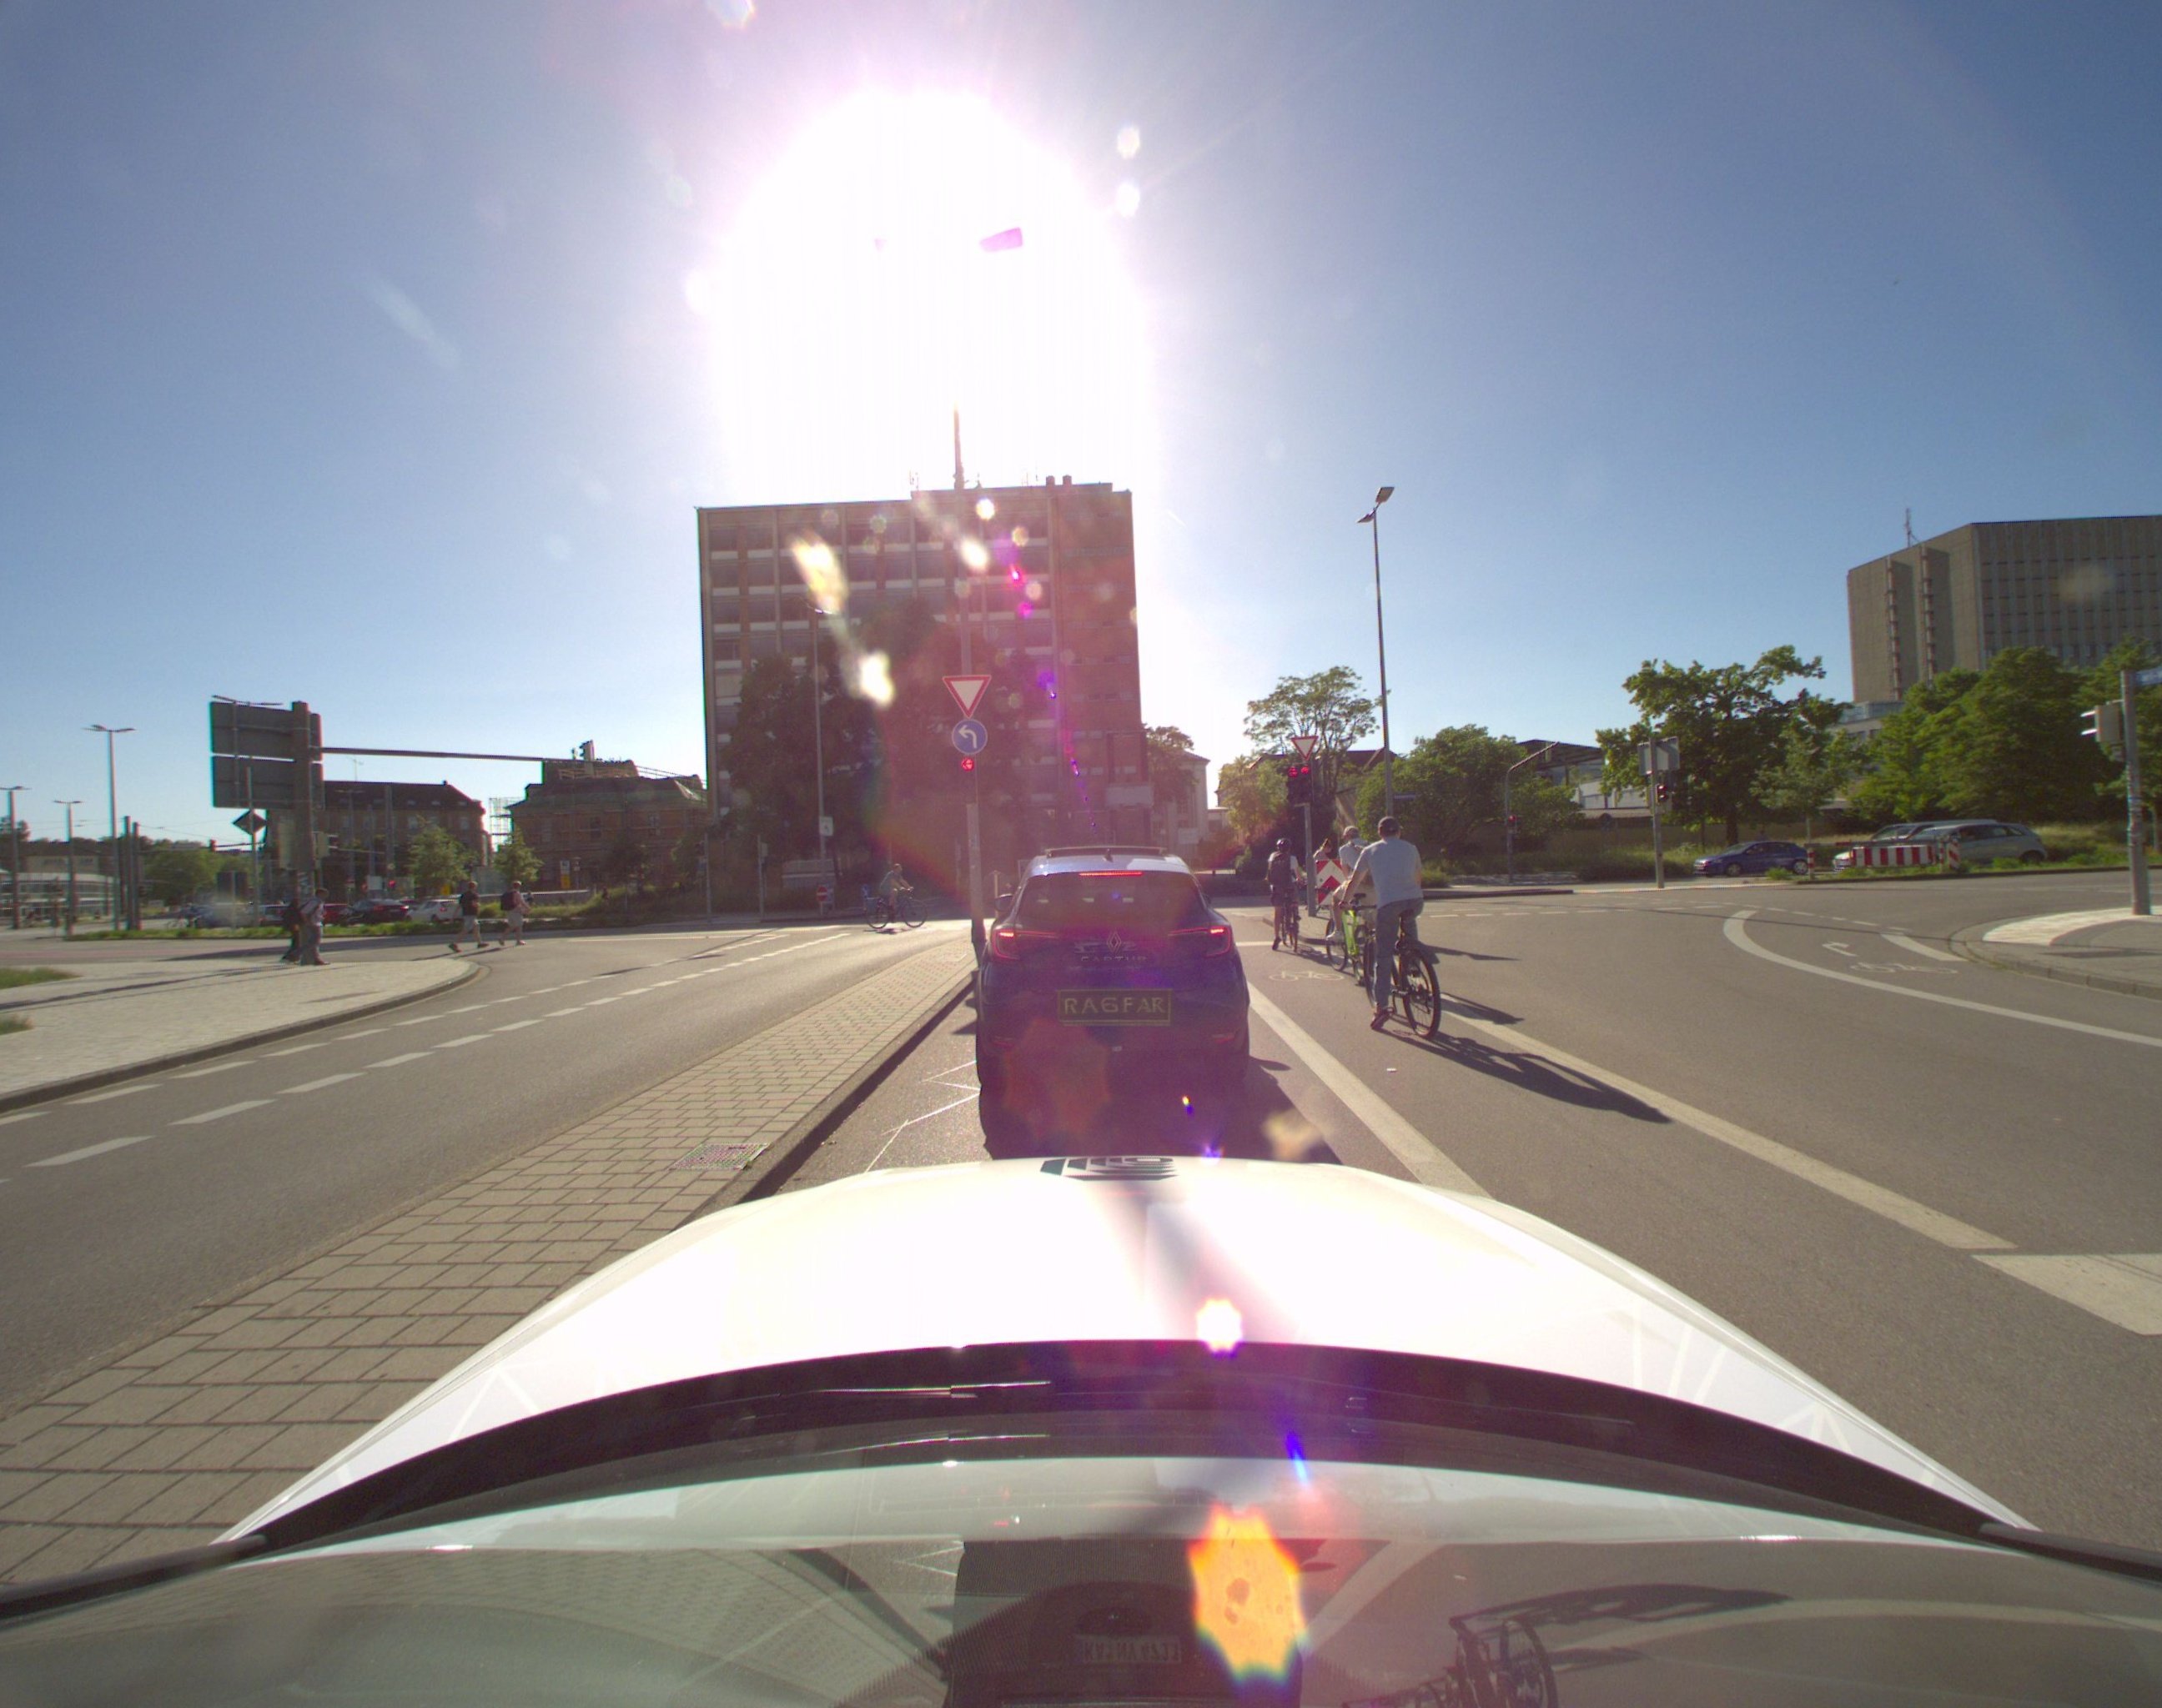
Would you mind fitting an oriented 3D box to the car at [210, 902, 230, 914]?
[{"bbox_3d":[-137.750,8.624,130.325,2.012,1.662,3.950,-2,-1,-45],"label":"car"}]

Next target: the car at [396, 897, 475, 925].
[{"bbox_3d":[-36.371,3.204,45.888,3.803,1.435,1.752,-2,-1,21],"label":"car"}]

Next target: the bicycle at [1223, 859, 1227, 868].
[{"bbox_3d":[16.653,1.075,94.179,0.403,0.973,1.686,0,-1,6],"label":"bicycle"}]

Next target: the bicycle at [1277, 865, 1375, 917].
[{"bbox_3d":[5.478,0.830,18.312,1.972,0.995,0.743,-4,-1,10],"label":"bicycle"}]

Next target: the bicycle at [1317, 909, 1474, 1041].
[{"bbox_3d":[2.720,1.004,7.302,0.737,0.896,1.980,0,-1,3],"label":"bicycle"}]

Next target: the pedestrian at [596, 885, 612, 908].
[{"bbox_3d":[-34.906,3.113,59.561,0.852,1.571,0.562,-3,-1,27],"label":"pedestrian"}]

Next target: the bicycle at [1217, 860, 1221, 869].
[{"bbox_3d":[15.874,1.222,93.828,0.403,0.973,1.686,0,-1,6],"label":"bicycle"}]

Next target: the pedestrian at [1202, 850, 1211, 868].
[{"bbox_3d":[14.378,0.519,93.222,0.855,2.014,0.469,-2,-1,7],"label":"pedestrian"}]

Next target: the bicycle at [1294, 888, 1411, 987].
[{"bbox_3d":[3.214,0.954,9.858,0.657,1.003,1.967,0,-1,-4],"label":"bicycle"}]

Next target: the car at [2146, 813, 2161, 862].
[{"bbox_3d":[36.985,-0.624,25.355,4.711,1.584,2.002,-2,-1,4],"label":"car"}]

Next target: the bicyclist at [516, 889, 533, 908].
[{"bbox_3d":[-42.811,3.448,62.695,0.928,1.429,0.601,-3,-1,20],"label":"bicyclist"}]

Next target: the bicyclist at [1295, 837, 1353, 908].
[{"bbox_3d":[5.455,0.415,18.318,1.062,1.500,0.743,-4,-1,9],"label":"bicyclist"}]

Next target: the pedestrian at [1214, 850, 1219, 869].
[{"bbox_3d":[15.101,0.598,90.863,0.473,2.014,0.524,-2,-1,8],"label":"pedestrian"}]

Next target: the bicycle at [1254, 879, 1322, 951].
[{"bbox_3d":[3.247,0.927,12.940,0.735,0.995,2.177,0,-1,6],"label":"bicycle"}]

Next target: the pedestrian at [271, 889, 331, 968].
[{"bbox_3d":[-17.752,1.683,18.553,0.909,1.690,0.830,-2,-4,-40],"label":"pedestrian"}]

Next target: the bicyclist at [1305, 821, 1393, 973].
[{"bbox_3d":[3.214,0.494,9.856,0.644,1.739,1.065,0,-1,-4],"label":"bicyclist"}]

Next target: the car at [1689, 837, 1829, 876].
[{"bbox_3d":[28.217,0.099,34.014,4.140,1.435,1.747,-2,-1,8],"label":"car"}]

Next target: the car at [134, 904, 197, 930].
[{"bbox_3d":[-64.031,4.394,56.958,4.331,1.633,1.854,-3,-10,29],"label":"car"}]

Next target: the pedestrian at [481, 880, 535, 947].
[{"bbox_3d":[-15.347,1.578,21.824,0.786,1.690,0.792,-5,-3,18],"label":"pedestrian"}]

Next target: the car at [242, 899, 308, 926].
[{"bbox_3d":[-53.816,3.920,54.380,4.331,1.632,1.855,-3,-1,27],"label":"car"}]

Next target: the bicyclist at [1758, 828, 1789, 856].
[{"bbox_3d":[33.431,-0.585,39.316,0.823,1.316,0.696,-5,1,0],"label":"bicyclist"}]

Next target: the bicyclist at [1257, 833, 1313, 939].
[{"bbox_3d":[3.238,0.500,12.993,0.722,1.629,0.970,0,-1,6],"label":"bicyclist"}]

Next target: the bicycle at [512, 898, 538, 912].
[{"bbox_3d":[-42.788,3.934,62.692,2.058,0.964,0.602,-3,-1,23],"label":"bicycle"}]

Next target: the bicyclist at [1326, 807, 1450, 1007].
[{"bbox_3d":[2.712,0.445,7.302,0.748,1.668,1.017,0,-1,3],"label":"bicyclist"}]

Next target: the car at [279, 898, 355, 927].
[{"bbox_3d":[-48.459,3.684,51.654,4.334,1.632,1.854,-3,-1,23],"label":"car"}]

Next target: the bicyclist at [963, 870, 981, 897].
[{"bbox_3d":[-5.890,1.595,44.060,0.741,1.441,0.593,-2,-1,-25],"label":"bicyclist"}]

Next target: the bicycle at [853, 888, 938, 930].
[{"bbox_3d":[-4.757,1.416,20.869,1.970,0.918,0.690,-4,-1,14],"label":"bicycle"}]

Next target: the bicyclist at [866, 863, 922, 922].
[{"bbox_3d":[-4.779,0.979,20.882,1.116,1.422,0.690,-4,-1,14],"label":"bicyclist"}]

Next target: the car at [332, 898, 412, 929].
[{"bbox_3d":[-42.577,3.575,48.905,4.334,1.632,1.854,-3,-1,23],"label":"car"}]

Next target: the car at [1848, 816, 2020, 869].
[{"bbox_3d":[35.251,-0.442,33.767,4.856,2.107,2.002,0,-1,4],"label":"car"}]

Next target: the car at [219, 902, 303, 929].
[{"bbox_3d":[-49.014,3.677,48.667,4.841,1.388,1.854,-3,-1,23],"label":"car"}]

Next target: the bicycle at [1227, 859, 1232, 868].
[{"bbox_3d":[17.187,1.072,94.179,0.403,0.973,1.686,0,-1,6],"label":"bicycle"}]

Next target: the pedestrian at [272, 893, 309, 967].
[{"bbox_3d":[-19.038,1.811,19.622,0.600,1.729,0.572,-2,-1,-45],"label":"pedestrian"}]

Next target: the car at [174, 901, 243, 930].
[{"bbox_3d":[-55.162,3.906,51.478,4.331,1.632,1.855,-3,-1,27],"label":"car"}]

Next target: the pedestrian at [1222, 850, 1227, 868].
[{"bbox_3d":[16.213,0.601,92.189,0.473,2.014,0.469,-2,-1,8],"label":"pedestrian"}]

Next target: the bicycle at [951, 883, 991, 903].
[{"bbox_3d":[-5.928,2.111,44.032,2.016,0.964,0.593,-2,-1,-25],"label":"bicycle"}]

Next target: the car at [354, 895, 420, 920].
[{"bbox_3d":[-50.909,3.939,59.729,4.779,1.632,1.855,-2,-1,25],"label":"car"}]

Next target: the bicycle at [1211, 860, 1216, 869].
[{"bbox_3d":[15.257,1.227,93.887,0.403,0.973,1.686,0,-1,6],"label":"bicycle"}]

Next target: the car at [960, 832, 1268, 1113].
[{"bbox_3d":[0.203,0.708,6.808,1.798,1.632,3.999,-1,0,0],"label":"car"}]

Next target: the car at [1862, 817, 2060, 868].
[{"bbox_3d":[28.140,-0.340,26.172,4.025,1.408,1.872,-2,-1,8],"label":"car"}]

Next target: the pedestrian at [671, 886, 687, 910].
[{"bbox_3d":[-27.665,3.048,56.017,0.730,1.603,0.602,-3,-1,25],"label":"pedestrian"}]

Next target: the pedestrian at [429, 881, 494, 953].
[{"bbox_3d":[-16.231,1.633,21.353,0.697,1.800,1.107,-5,-3,15],"label":"pedestrian"}]
